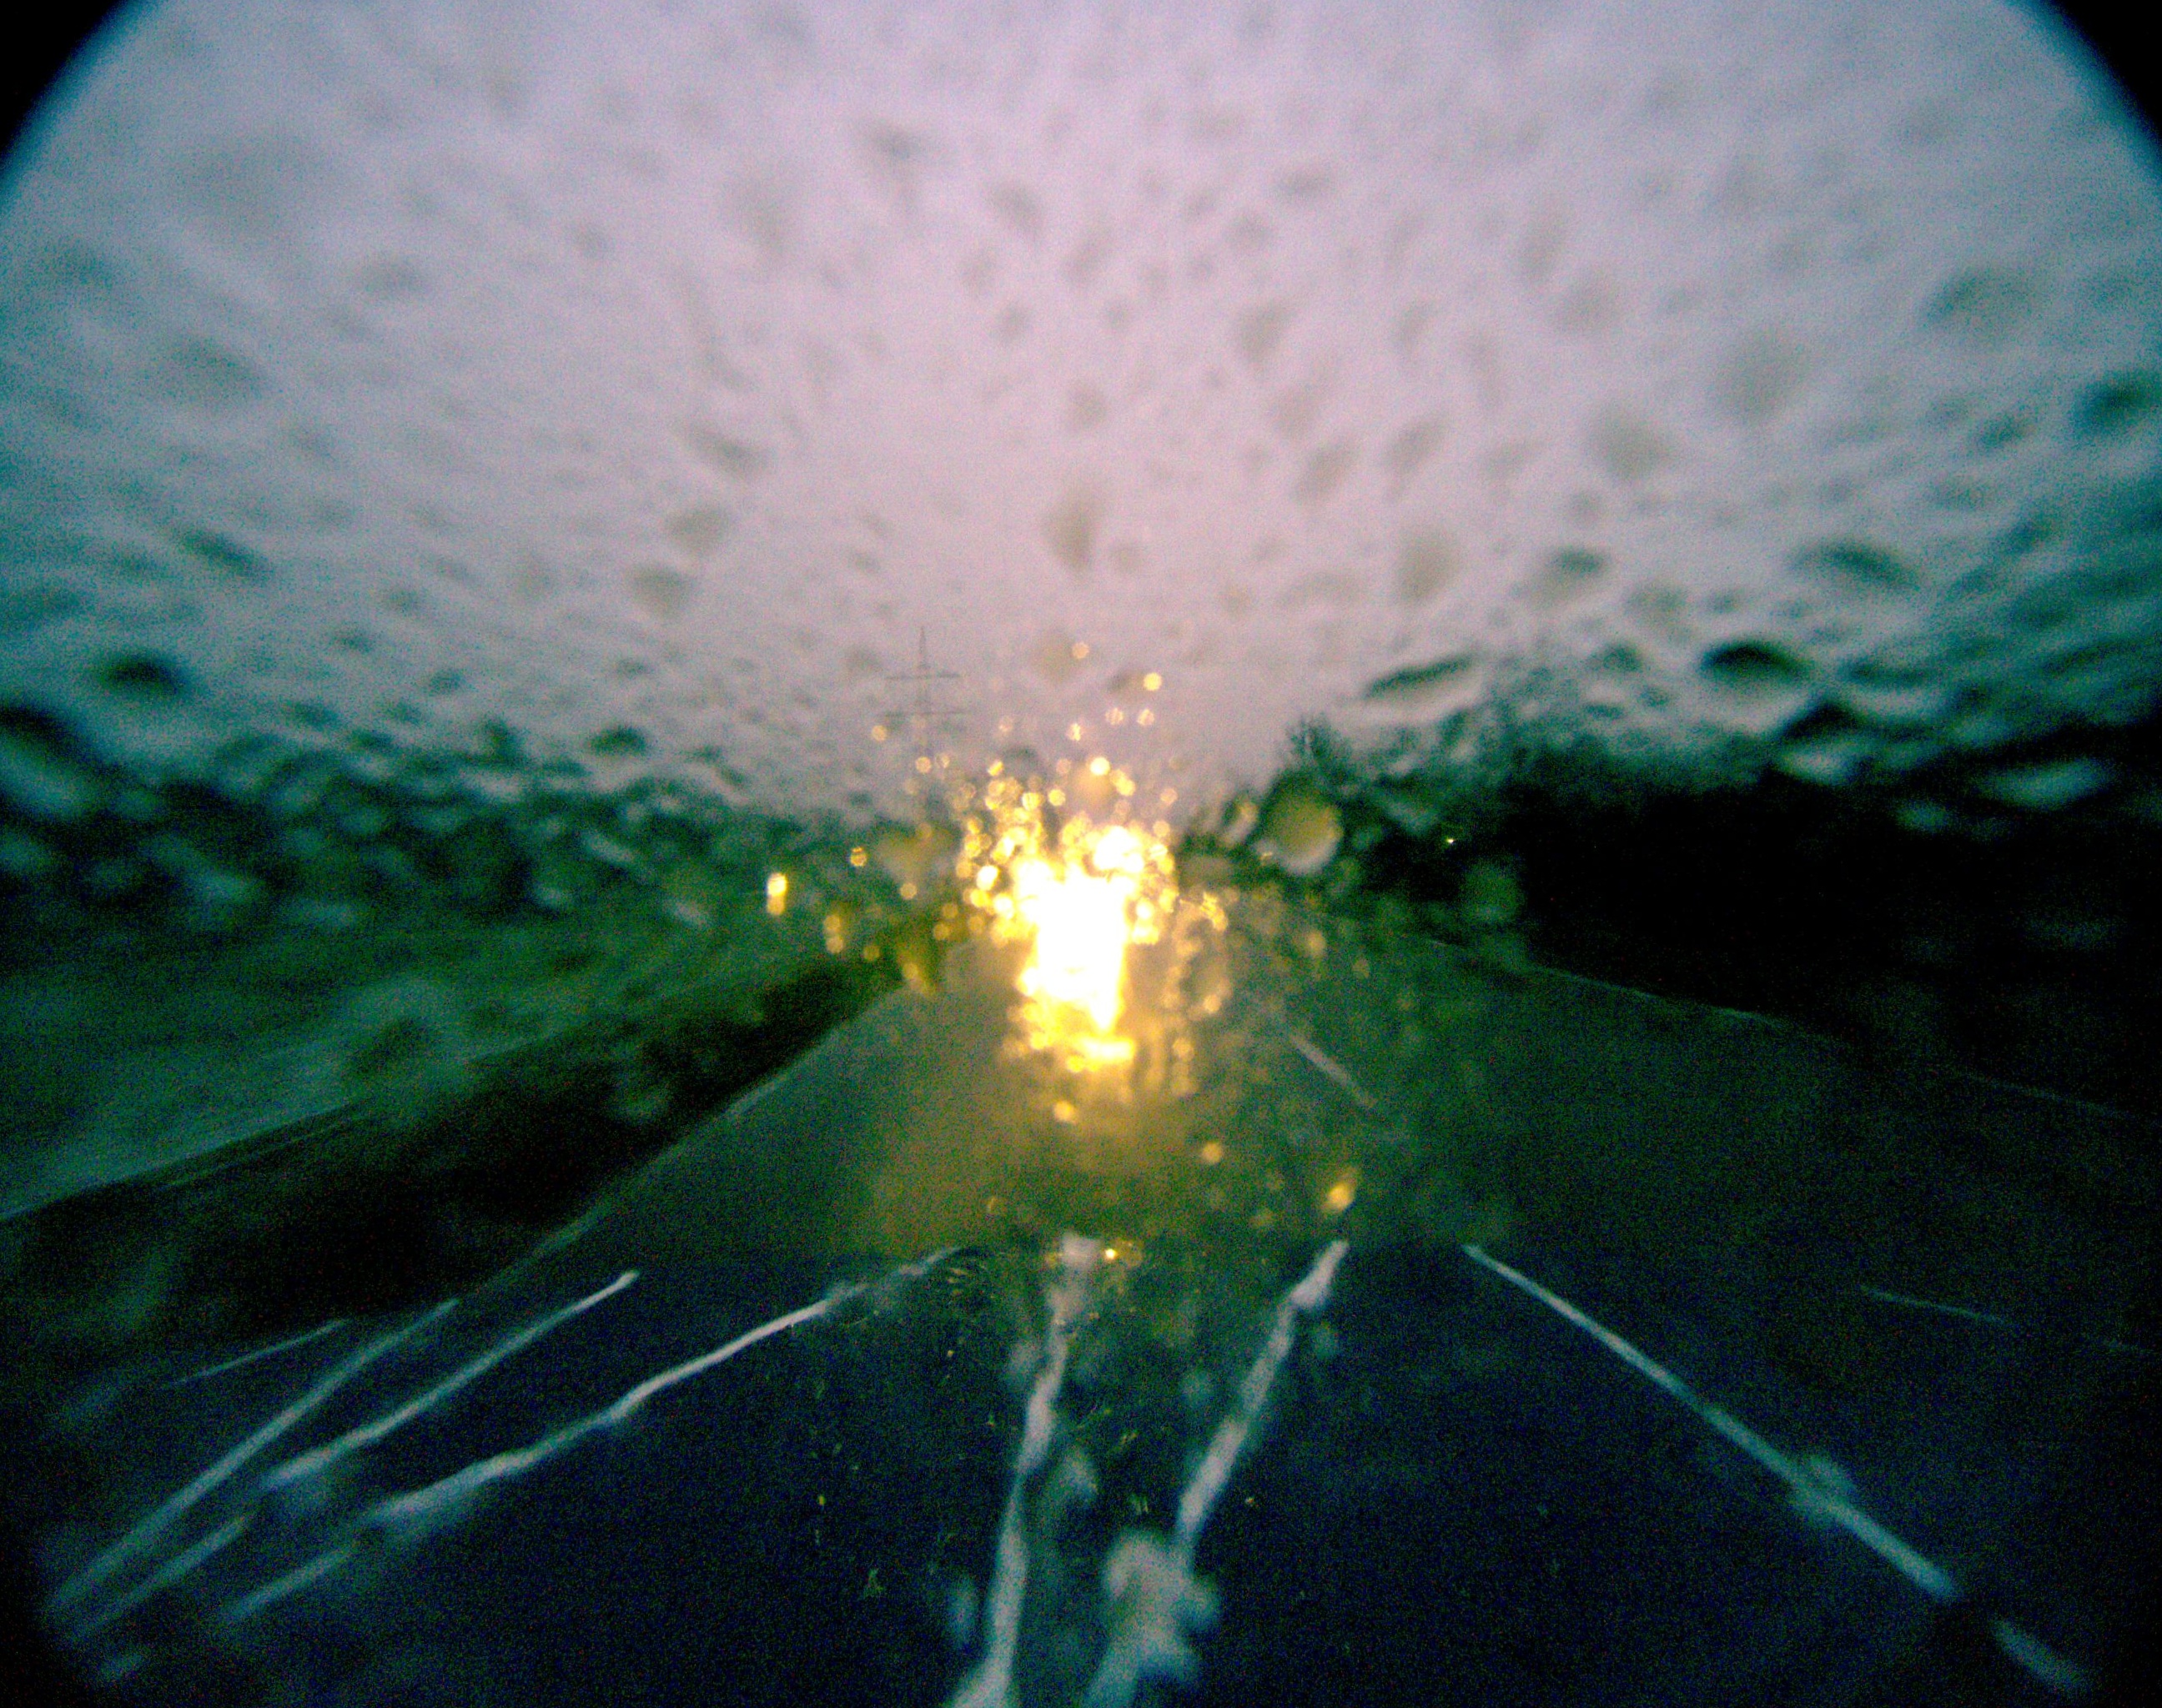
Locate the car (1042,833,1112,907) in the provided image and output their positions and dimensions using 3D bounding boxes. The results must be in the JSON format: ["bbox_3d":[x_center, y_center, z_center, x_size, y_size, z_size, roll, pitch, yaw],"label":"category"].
[{"bbox_3d":[-0.041,0.464,25.248,1.952,2.195,4.535,-2,1,3],"label":"car"}]
